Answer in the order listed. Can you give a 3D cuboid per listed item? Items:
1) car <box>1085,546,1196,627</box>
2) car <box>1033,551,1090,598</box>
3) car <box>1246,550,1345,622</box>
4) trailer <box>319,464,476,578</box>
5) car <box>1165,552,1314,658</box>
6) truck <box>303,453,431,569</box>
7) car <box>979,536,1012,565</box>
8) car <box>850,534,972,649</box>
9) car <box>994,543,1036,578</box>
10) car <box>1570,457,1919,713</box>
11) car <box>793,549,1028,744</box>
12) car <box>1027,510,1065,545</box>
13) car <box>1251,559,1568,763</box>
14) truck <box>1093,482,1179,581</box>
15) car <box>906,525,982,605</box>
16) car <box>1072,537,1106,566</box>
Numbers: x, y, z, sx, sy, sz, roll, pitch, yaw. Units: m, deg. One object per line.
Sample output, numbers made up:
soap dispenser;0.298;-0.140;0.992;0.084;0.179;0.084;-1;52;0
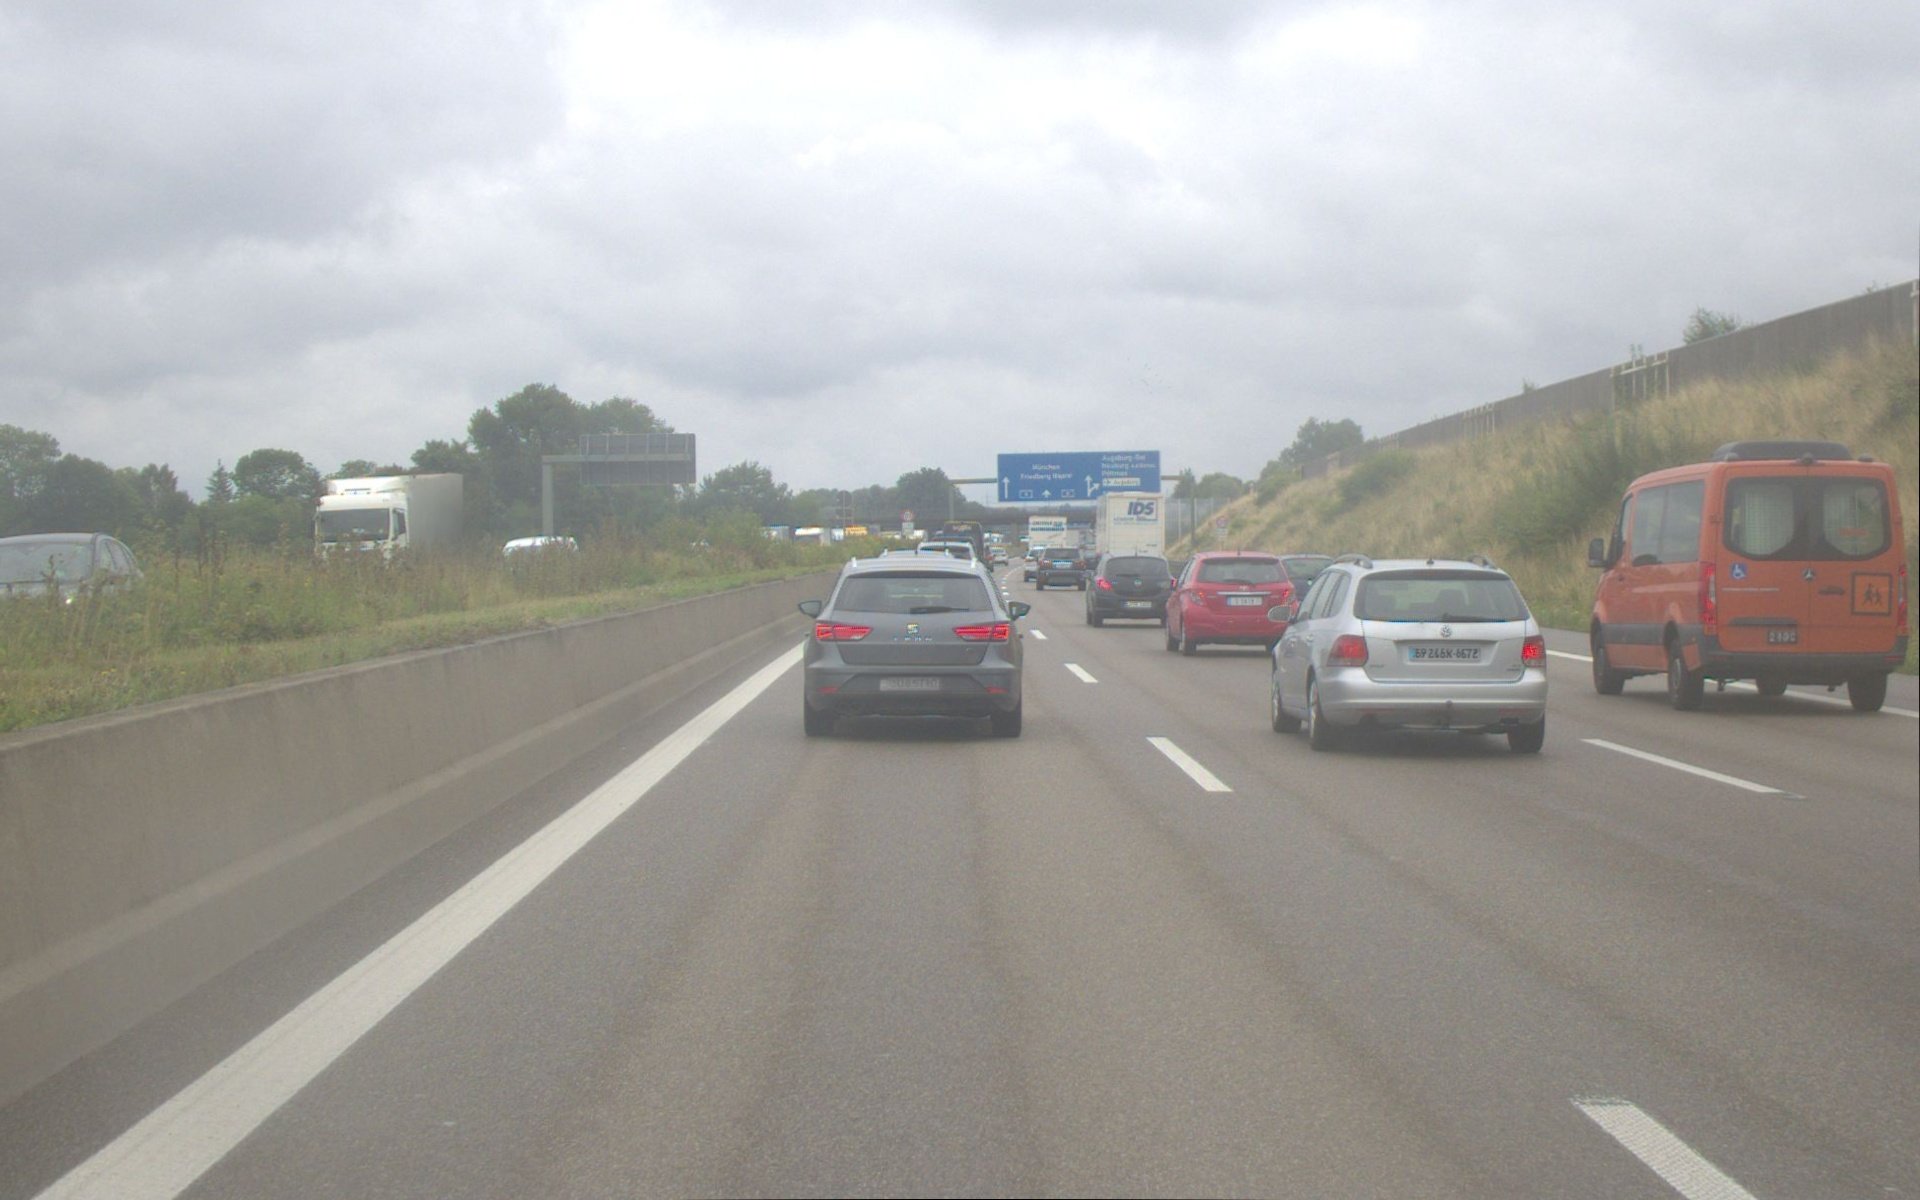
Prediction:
car;3.513;-0.289;67.677;1.921;1.516;4.622;0;1;0
car;3.666;-0.931;124.898;1.845;1.681;4.000;1;1;-1
car;6.712;-0.289;69.133;1.702;1.396;3.875;1;1;2
trailer;-18.041;-2.477;111.186;2.914;3.417;13.242;1;1;0
car;4.035;0.033;50.296;1.891;1.442;4.685;0;1;1
truck;-17.998;-2.668;104.678;2.969;3.417;5.628;1;1;-1
car;2.191;-3.080;214.015;1.993;1.807;4.597;0;1;0
car;-0.746;-0.155;54.678;1.754;1.744;4.000;1;1;1
car;2.466;-1.794;155.085;1.751;1.512;4.000;-1;1;0
car;7.715;-0.194;34.215;2.085;2.307;6.182;0;1;-1
car;-0.355;0.336;28.177;1.768;1.462;4.000;1;1;1
car;4.954;-4.184;198.612;1.993;2.007;4.000;-1;1;-1
car;3.420;0.412;26.935;1.741;1.420;4.517;-1;1;-2
truck;8.056;-3.102;159.637;3.283;4.280;19.033;1;1;1
car;-0.355;-0.833;80.892;1.704;1.790;3.855;-2;1;0
car;8.335;-3.151;222.651;1.993;1.853;4.391;-1;1;-1
